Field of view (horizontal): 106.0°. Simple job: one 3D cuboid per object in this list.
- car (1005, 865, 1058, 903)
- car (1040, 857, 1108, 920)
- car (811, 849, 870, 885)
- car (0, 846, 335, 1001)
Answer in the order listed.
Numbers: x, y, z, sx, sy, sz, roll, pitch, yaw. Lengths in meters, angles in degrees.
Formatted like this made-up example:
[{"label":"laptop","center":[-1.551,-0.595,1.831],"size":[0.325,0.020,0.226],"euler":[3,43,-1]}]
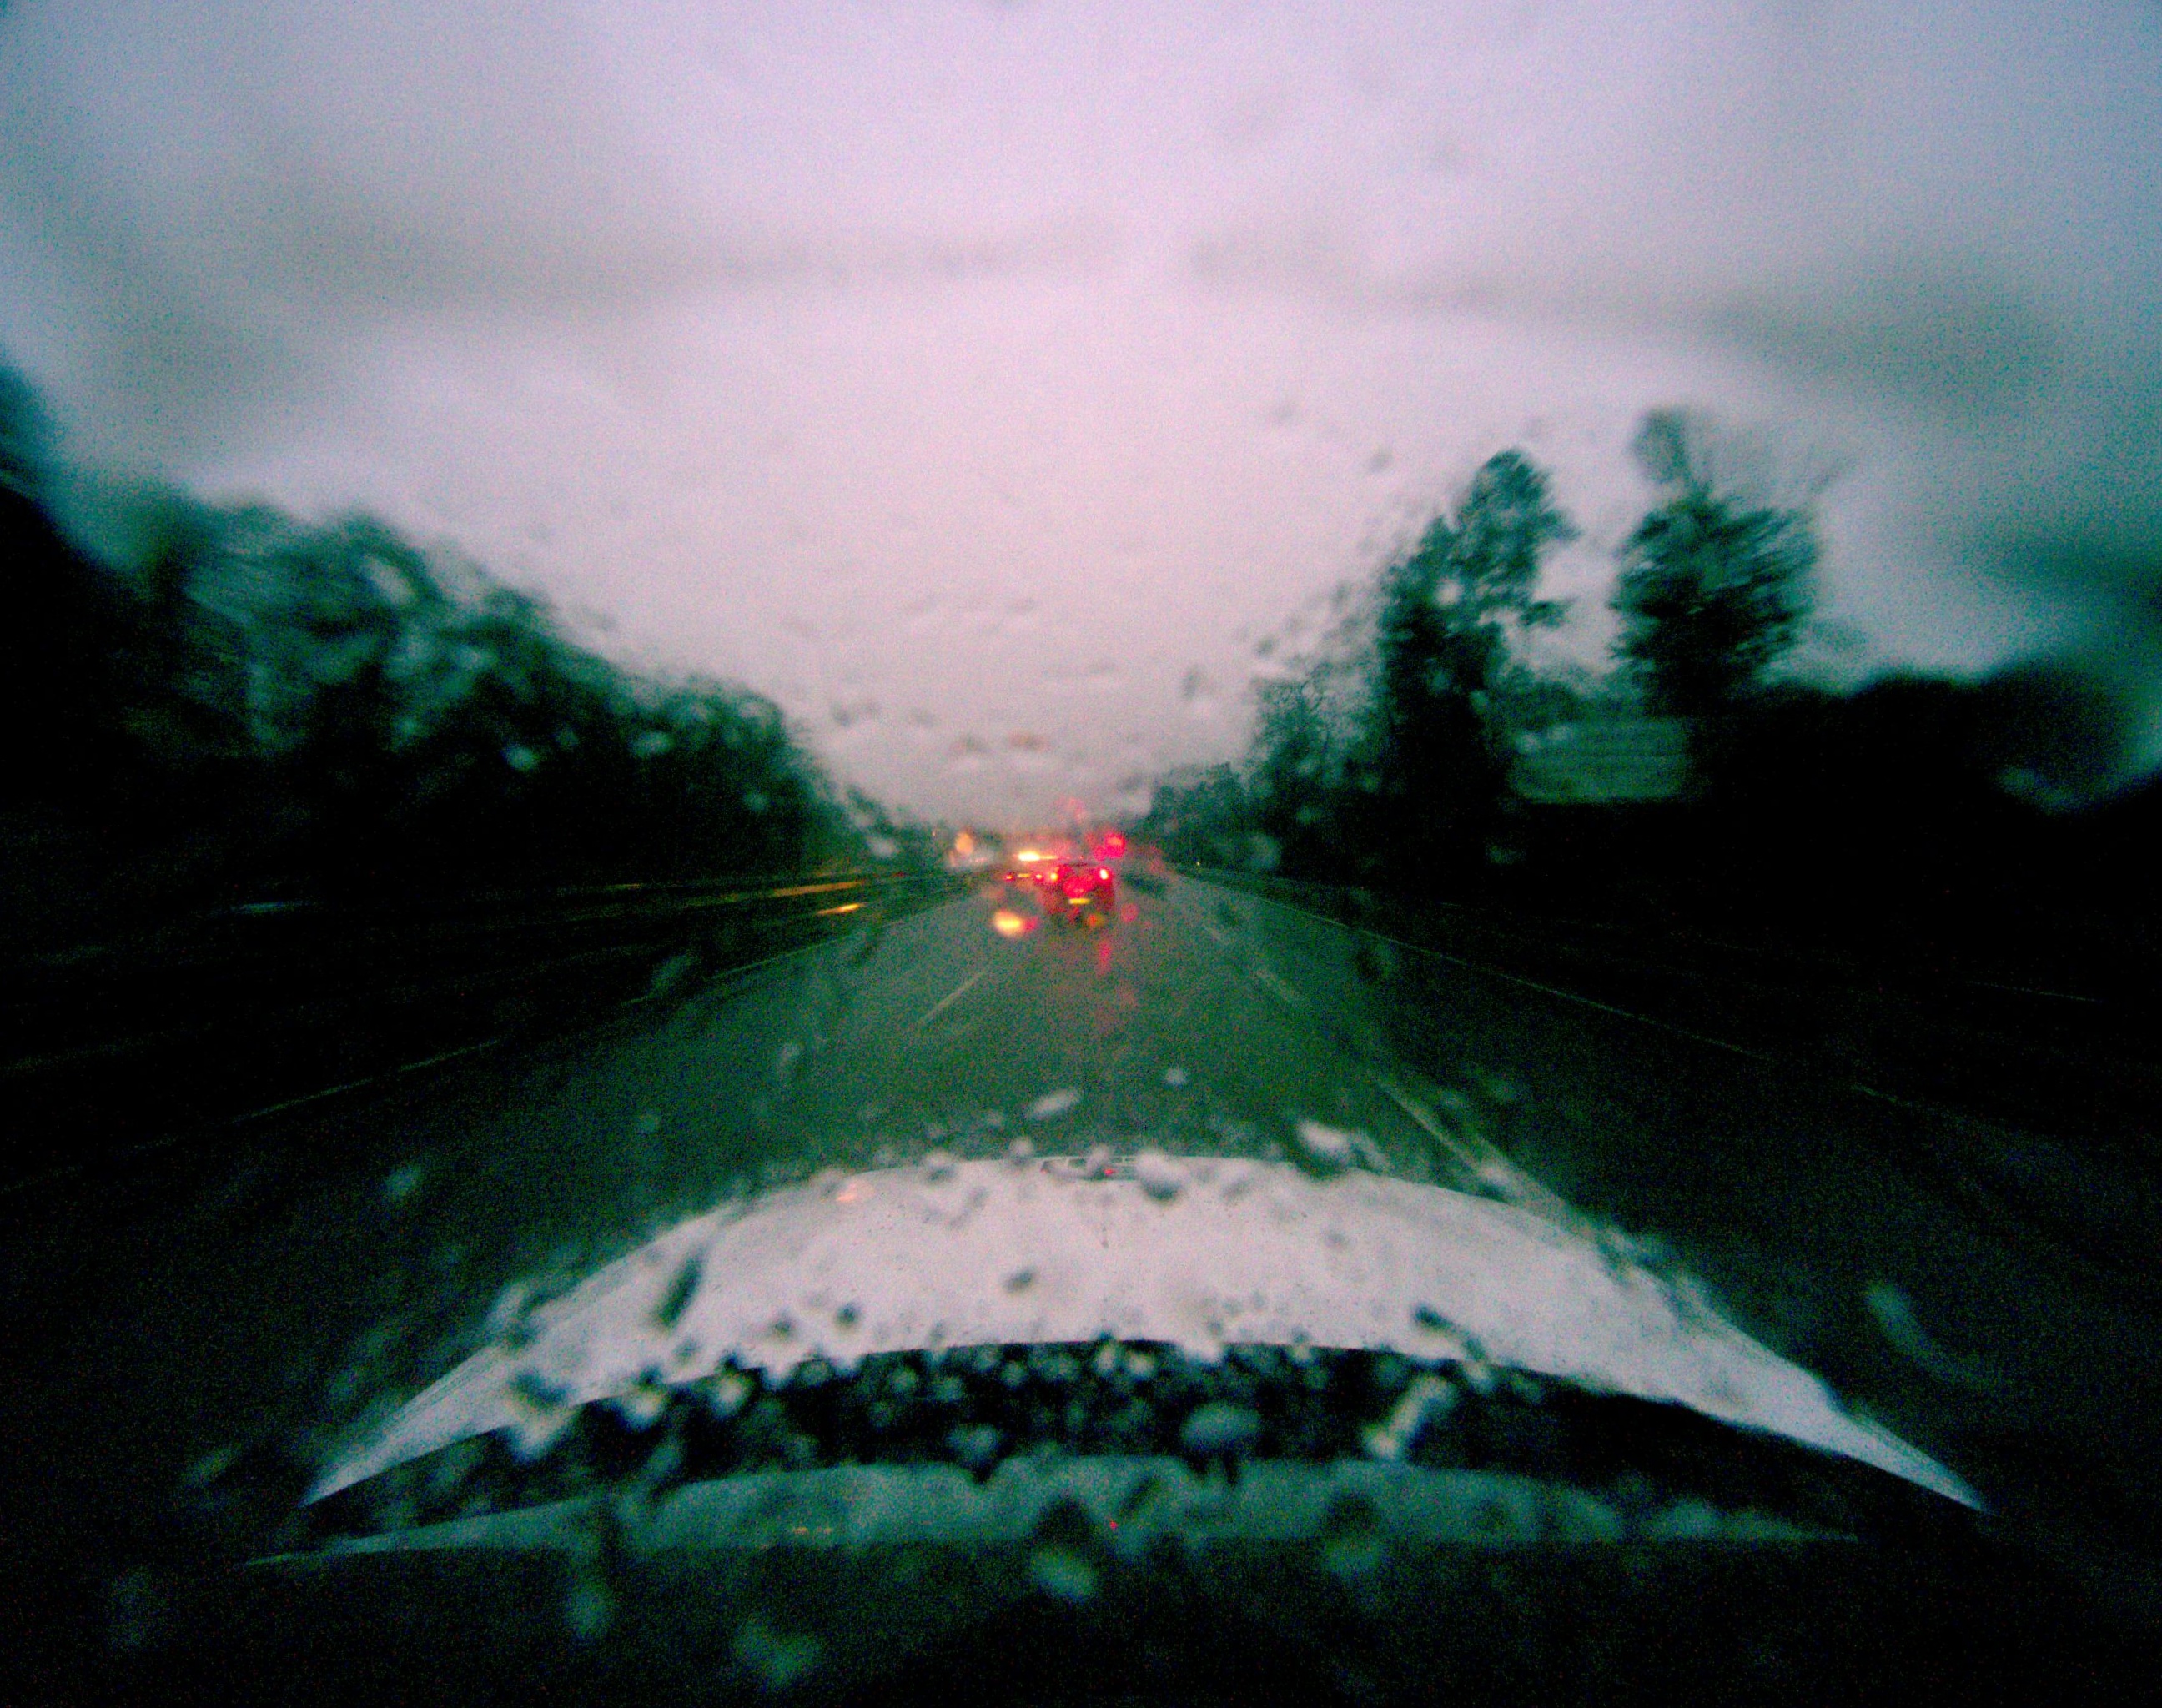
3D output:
[{"label":"car","center":[-2.132,1.291,36.294],"size":[1.769,1.534,4.705],"euler":[-2,-1,2]},{"label":"car","center":[-0.119,0.816,20.937],"size":[1.521,1.415,3.481],"euler":[2,0,2]},{"label":"car","center":[-12.560,0.636,42.739],"size":[1.637,1.785,4.210],"euler":[2,0,2]},{"label":"car","center":[-13.279,0.794,11.454],"size":[1.744,1.753,3.944],"euler":[2,0,4]}]
